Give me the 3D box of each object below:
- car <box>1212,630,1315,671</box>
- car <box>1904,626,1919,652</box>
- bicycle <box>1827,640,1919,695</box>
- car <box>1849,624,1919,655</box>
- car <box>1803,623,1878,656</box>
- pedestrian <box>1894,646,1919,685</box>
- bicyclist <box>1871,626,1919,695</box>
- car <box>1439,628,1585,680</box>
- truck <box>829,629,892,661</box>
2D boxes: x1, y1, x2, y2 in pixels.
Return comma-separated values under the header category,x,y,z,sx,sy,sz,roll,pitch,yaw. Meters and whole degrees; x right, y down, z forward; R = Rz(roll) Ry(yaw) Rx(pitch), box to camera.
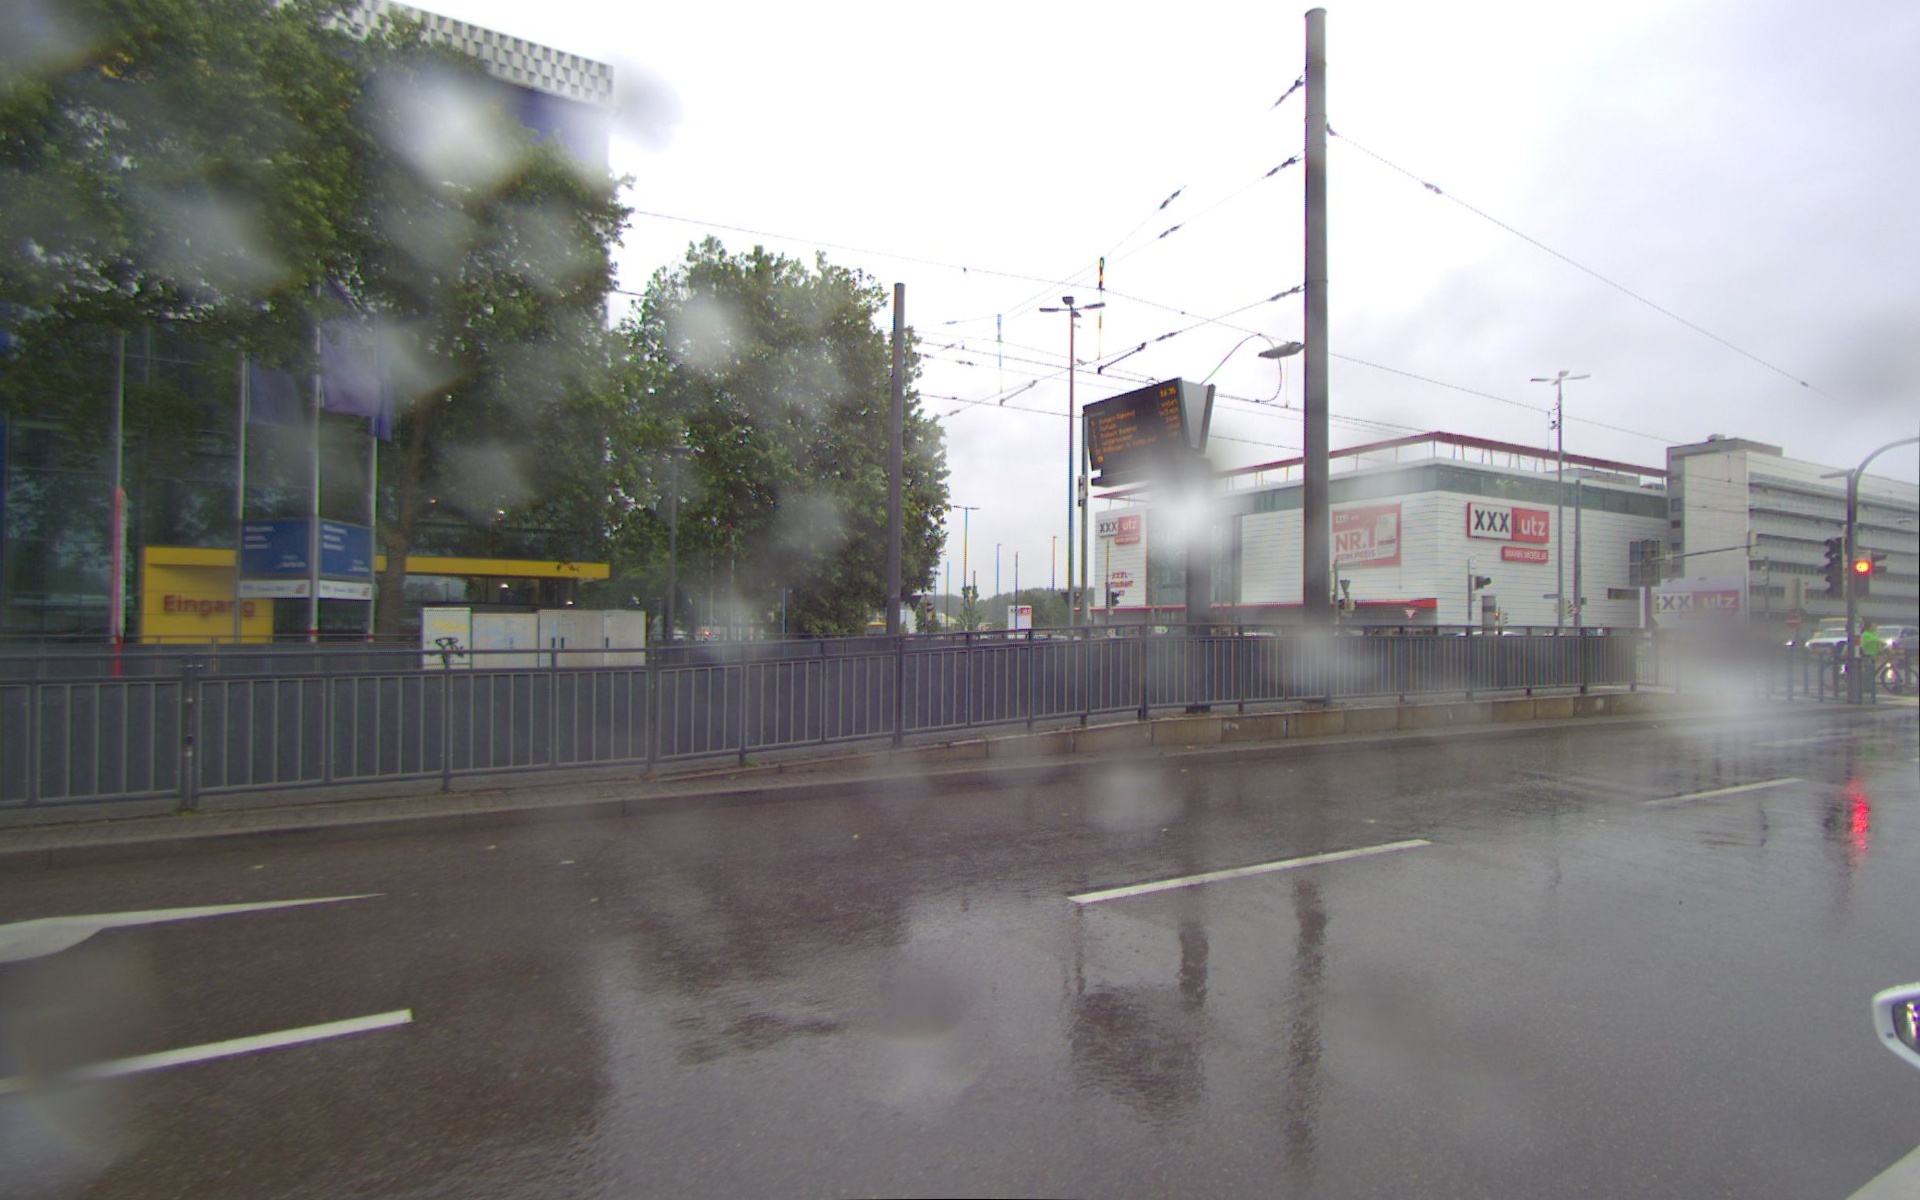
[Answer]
category,x,y,z,sx,sy,sz,roll,pitch,yaw
car,13.809,2.277,45.892,1.695,1.521,4.471,3,0,-31
car,55.020,2.266,56.678,3.527,1.445,1.552,3,0,-30
bicycle,20.842,1.524,22.752,1.724,1.153,0.520,2,0,18
car,48.842,2.083,53.083,3.765,1.445,1.702,3,0,-30
car,43.864,1.980,50.029,3.765,1.445,1.702,3,0,-30
pedestrian,22.546,1.562,23.922,0.376,0.909,0.313,1,1,-32
bicyclist,21.100,1.356,22.664,0.593,1.510,0.600,2,0,20
car,19.953,1.912,36.452,1.806,1.521,4.224,3,1,-39
truck,-8.621,3.846,86.583,2.445,2.240,7.329,3,0,-31
